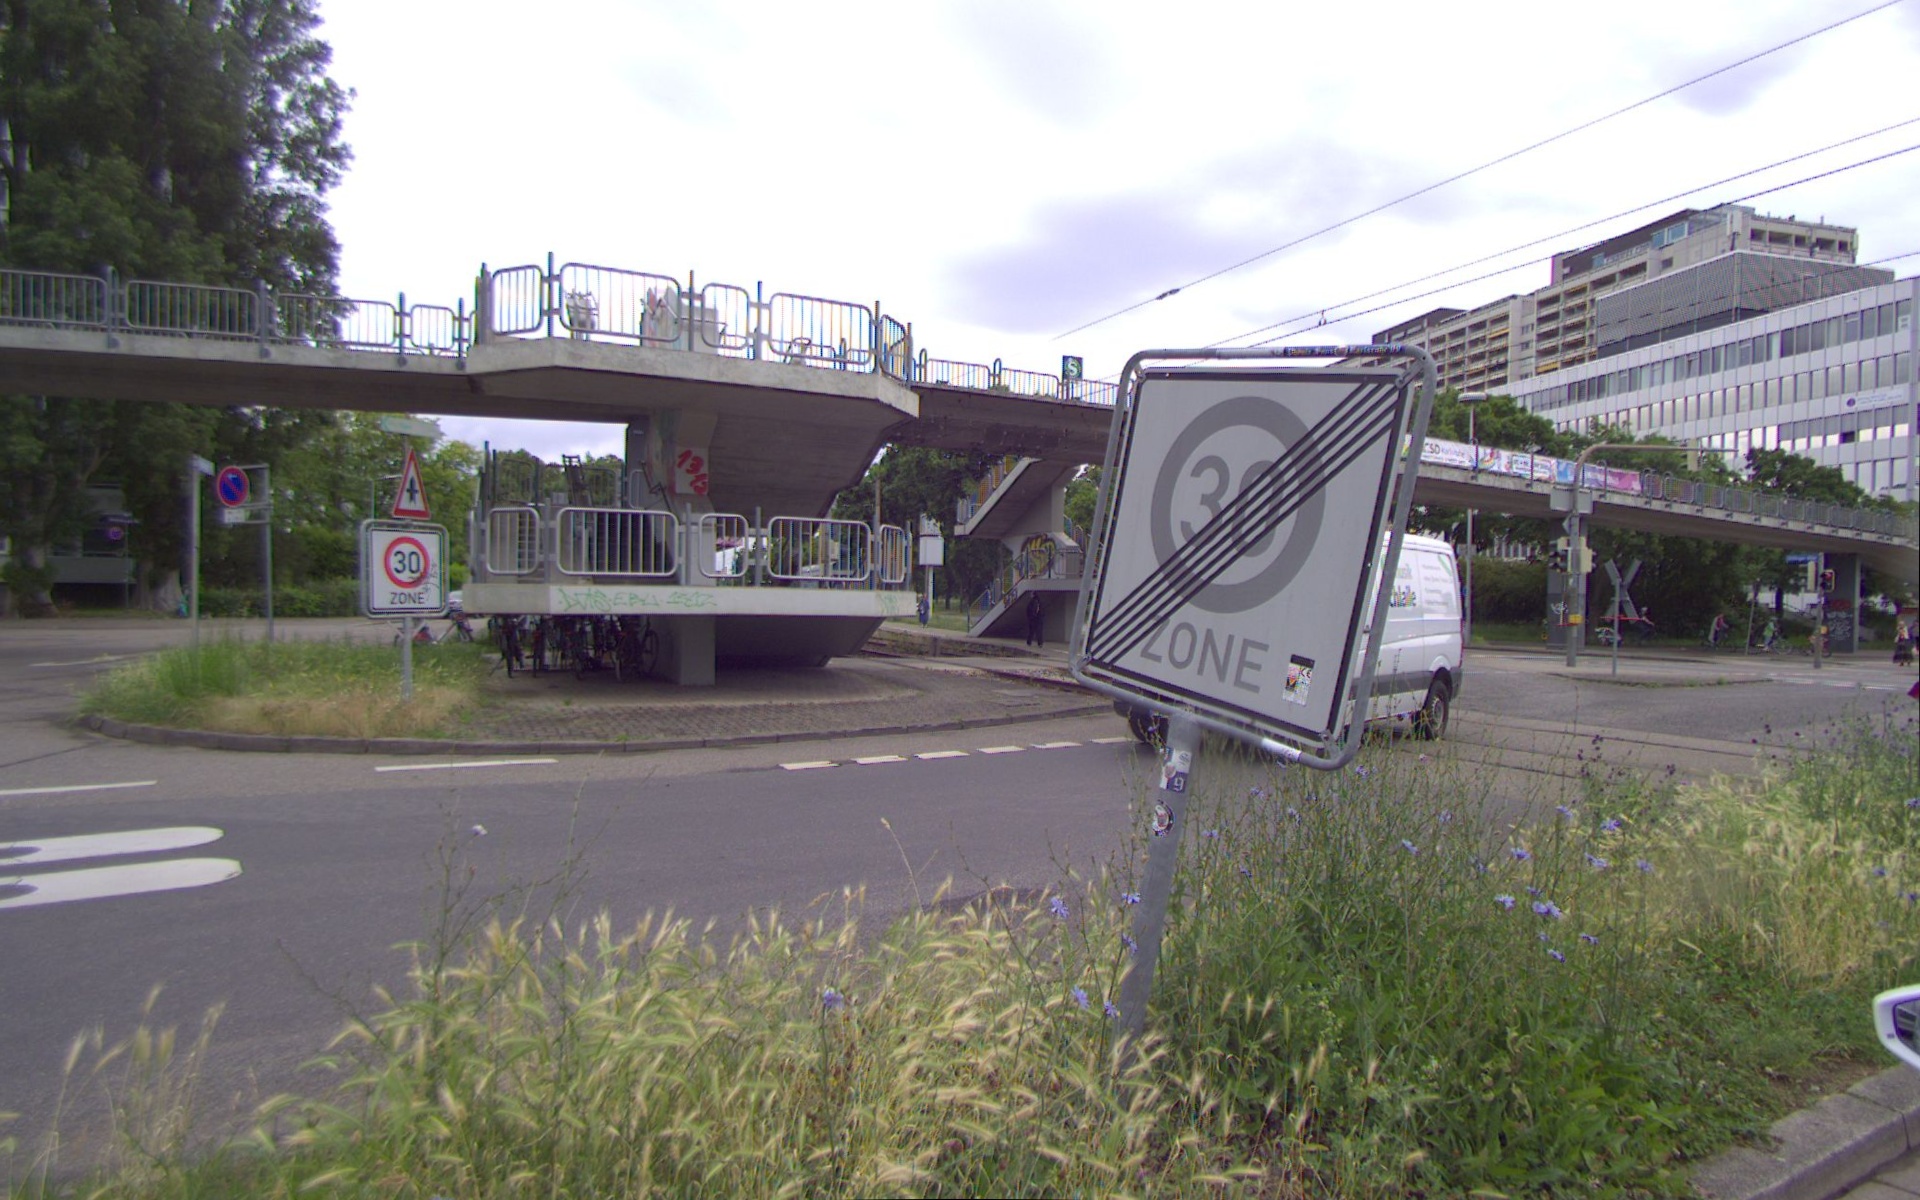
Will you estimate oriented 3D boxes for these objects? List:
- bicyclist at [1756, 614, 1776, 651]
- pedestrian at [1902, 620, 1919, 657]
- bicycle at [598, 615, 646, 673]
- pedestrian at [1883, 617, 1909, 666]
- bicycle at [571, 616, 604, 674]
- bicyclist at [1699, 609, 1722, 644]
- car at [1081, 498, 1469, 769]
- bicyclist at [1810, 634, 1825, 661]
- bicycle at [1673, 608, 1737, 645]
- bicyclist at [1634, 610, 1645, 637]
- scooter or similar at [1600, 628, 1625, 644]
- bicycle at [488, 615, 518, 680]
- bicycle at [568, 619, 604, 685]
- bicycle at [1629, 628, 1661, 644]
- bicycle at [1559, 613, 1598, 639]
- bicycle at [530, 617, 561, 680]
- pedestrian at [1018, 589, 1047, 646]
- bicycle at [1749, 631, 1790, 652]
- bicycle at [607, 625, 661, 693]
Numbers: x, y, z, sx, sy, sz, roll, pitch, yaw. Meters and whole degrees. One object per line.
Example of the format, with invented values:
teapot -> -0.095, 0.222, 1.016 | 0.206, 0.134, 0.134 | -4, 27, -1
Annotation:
bicyclist -> 37.264, 1.492, 46.444 | 0.525, 1.666, 0.562 | 2, 0, -29
pedestrian -> 41.313, 1.659, 43.584 | 0.572, 1.600, 0.777 | 2, 0, 42
bicycle -> -5.719, 0.717, 16.960 | 0.390, 0.897, 1.628 | 1, 0, -32
pedestrian -> 33.326, 1.467, 35.752 | 0.402, 1.714, 0.612 | 1, 1, -43
bicycle -> -6.292, 0.739, 16.931 | 0.389, 0.897, 1.632 | 1, 0, -24
bicyclist -> 35.730, 1.264, 47.823 | 0.523, 1.647, 0.741 | 1, 0, -40
car -> 3.755, 0.354, 11.240 | 2.111, 2.322, 5.178 | 0, -1, 43
bicyclist -> 38.319, 2.115, 44.890 | 0.372, 1.197, 0.403 | 0, 1, -28
bicycle -> 35.575, 1.260, 47.993 | 0.523, 1.647, 2.338 | 1, 0, -40
bicyclist -> 33.852, 1.155, 50.011 | 0.376, 1.321, 0.278 | 1, 1, 24
scooter or similar -> 32.849, 1.812, 50.563 | 0.978, 0.724, 0.406 | 1, 0, 26
bicycle -> -6.991, 0.706, 15.384 | 0.389, 0.897, 1.632 | 1, 0, -24
bicycle -> -5.662, 0.762, 15.182 | 0.389, 0.897, 1.632 | 1, 0, -24
bicycle -> 34.058, 1.792, 49.965 | 1.273, 0.701, 0.290 | 1, 1, 25
bicycle -> 31.963, 1.337, 51.925 | 0.384, 1.321, 1.697 | 1, 0, -28
bicycle -> -6.488, 0.733, 15.705 | 0.389, 0.897, 1.632 | 1, 0, -24
pedestrian -> 2.132, 0.503, 29.539 | 0.593, 1.664, 0.659 | 1, 1, -25
bicycle -> 37.339, 1.901, 46.309 | 2.493, 0.938, 0.628 | 1, 1, -31
bicycle -> -4.852, 0.856, 15.031 | 0.387, 0.897, 1.741 | 1, 0, -6
